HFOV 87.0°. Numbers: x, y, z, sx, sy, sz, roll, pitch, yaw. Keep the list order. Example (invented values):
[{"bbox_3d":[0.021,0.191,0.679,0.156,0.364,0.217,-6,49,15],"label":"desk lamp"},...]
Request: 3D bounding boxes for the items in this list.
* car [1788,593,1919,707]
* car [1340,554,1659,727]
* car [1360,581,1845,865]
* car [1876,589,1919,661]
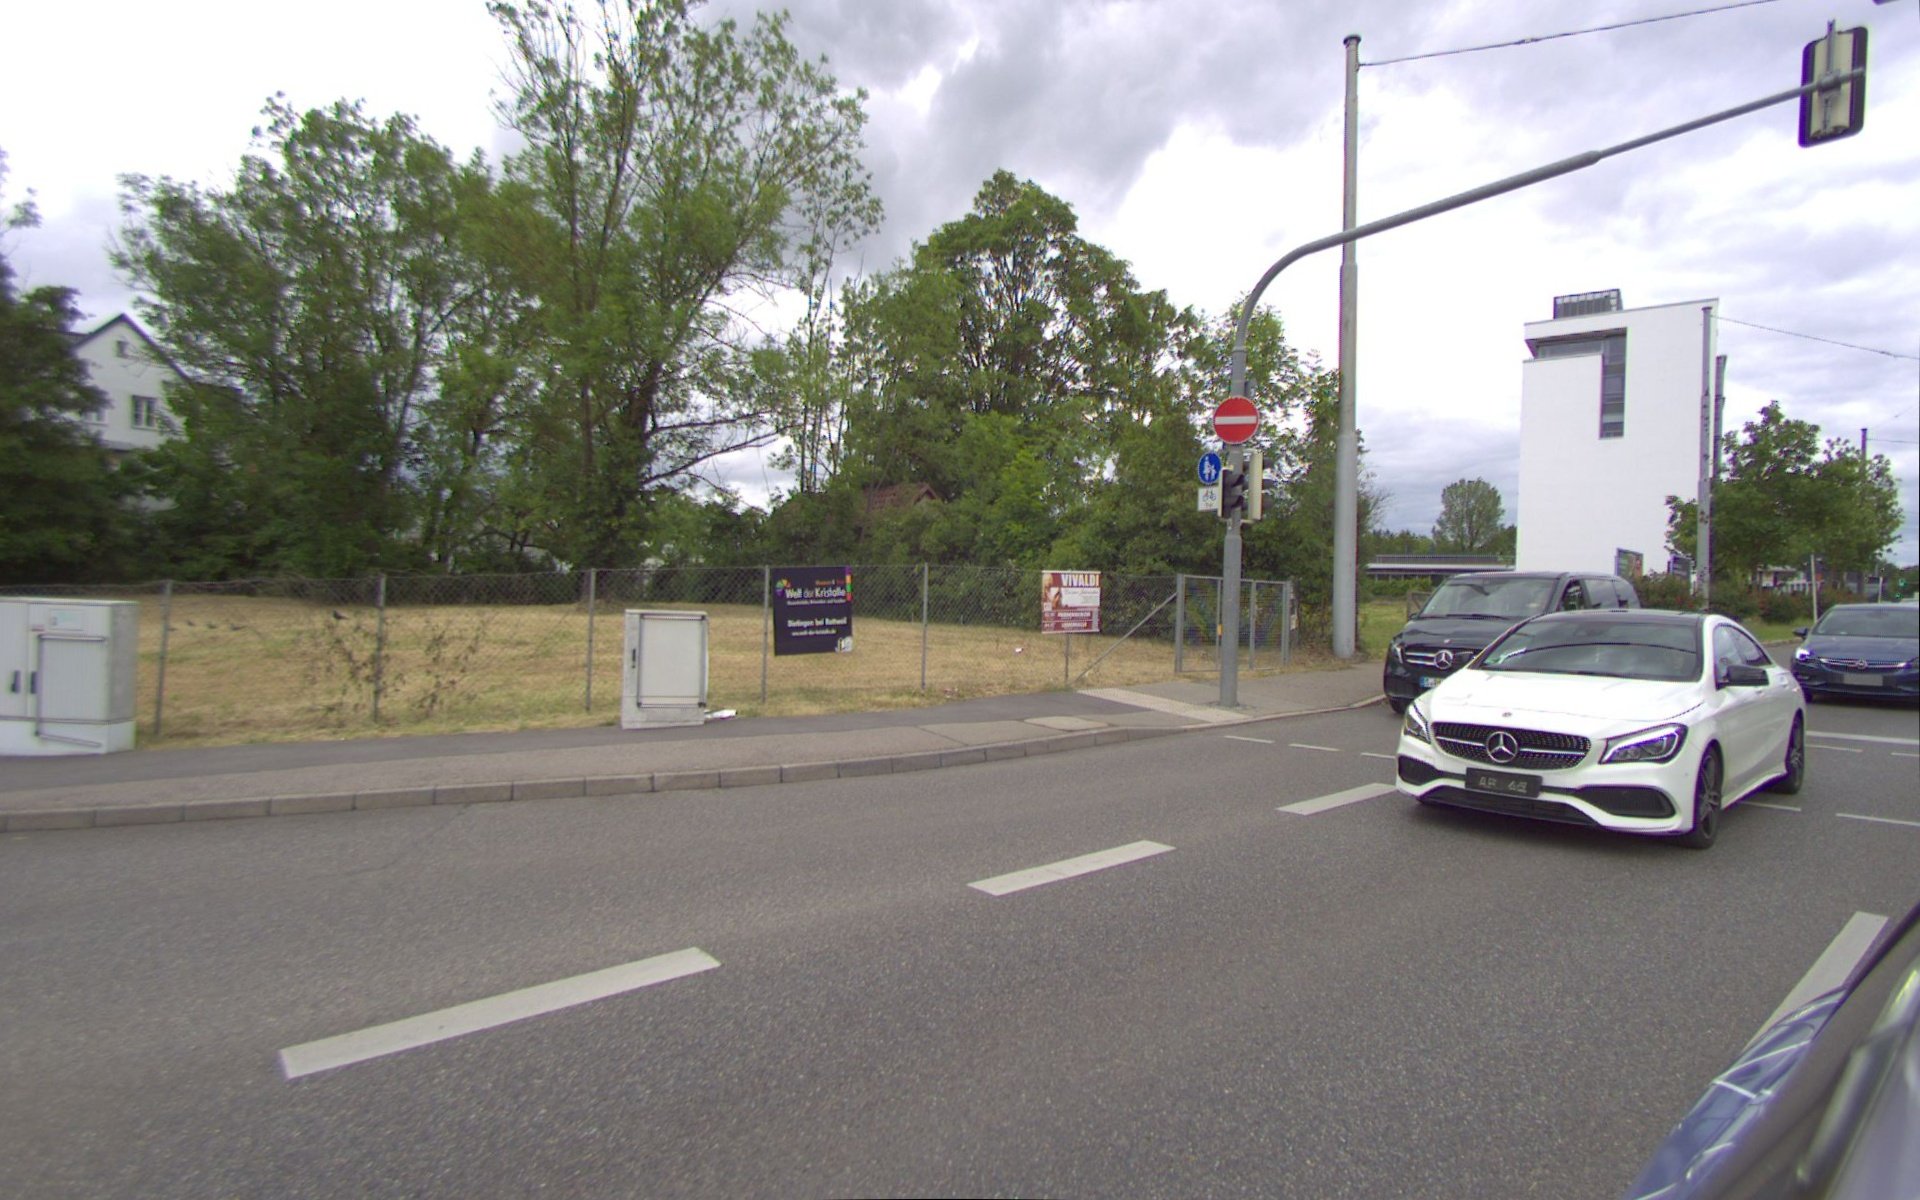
[{"bbox_3d":[14.139,0.656,15.292,4.234,1.491,1.797,0,1,-41],"label":"car"},{"bbox_3d":[7.312,0.402,13.510,4.787,1.911,2.015,0,2,-39],"label":"car"},{"bbox_3d":[5.020,0.626,7.604,4.617,1.491,1.797,-1,2,-41],"label":"car"},{"bbox_3d":[21.743,0.520,22.275,4.235,1.491,1.797,-1,2,-41],"label":"car"}]
